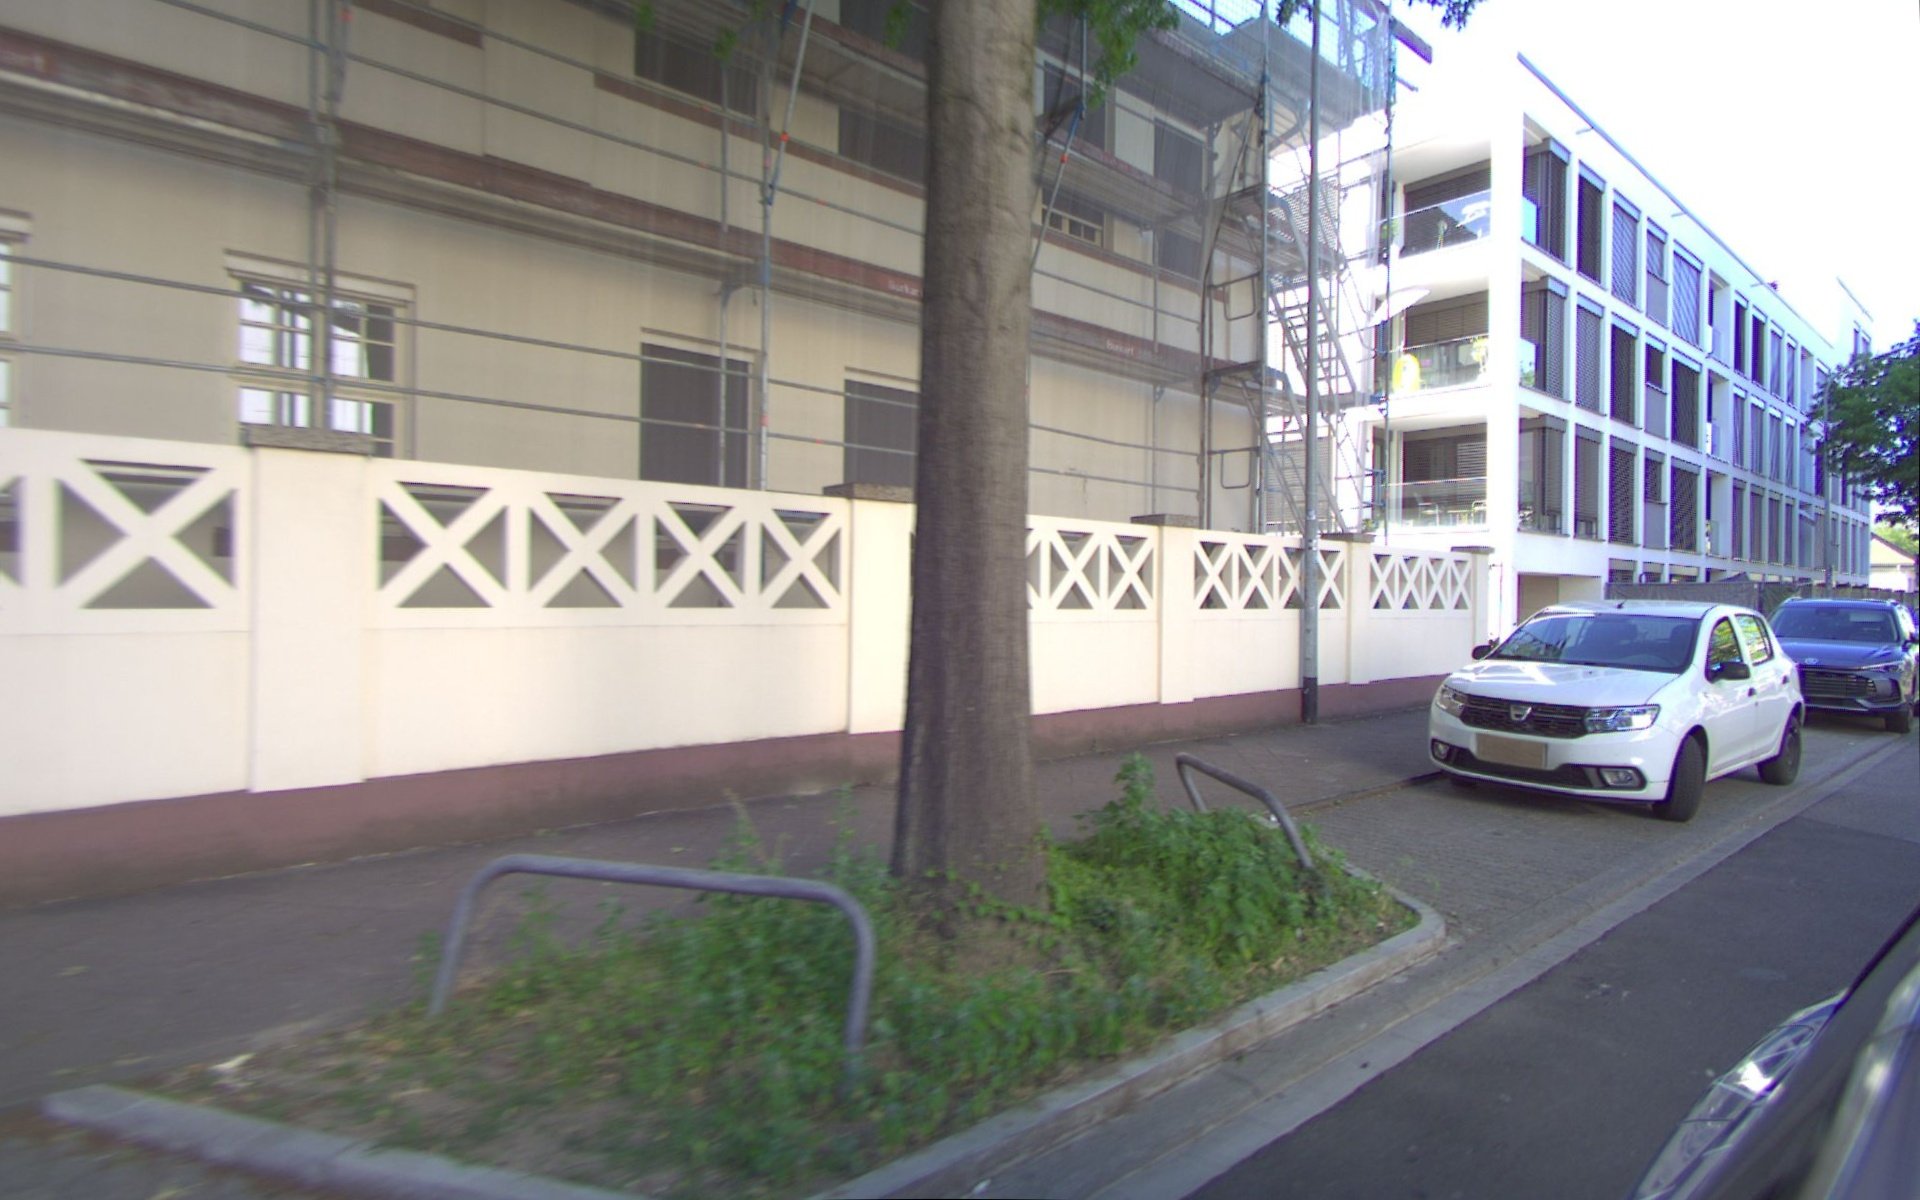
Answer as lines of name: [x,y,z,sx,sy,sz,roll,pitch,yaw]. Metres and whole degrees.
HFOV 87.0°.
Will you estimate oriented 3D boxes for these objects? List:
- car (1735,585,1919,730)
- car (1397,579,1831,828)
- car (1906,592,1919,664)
car: [12.021,0.660,13.715,4.229,1.659,1.714,0,0,-43]
car: [5.446,0.656,8.262,3.918,1.529,1.729,1,2,-38]
car: [23.866,0.641,23.973,4.055,1.636,1.795,0,-1,-42]
